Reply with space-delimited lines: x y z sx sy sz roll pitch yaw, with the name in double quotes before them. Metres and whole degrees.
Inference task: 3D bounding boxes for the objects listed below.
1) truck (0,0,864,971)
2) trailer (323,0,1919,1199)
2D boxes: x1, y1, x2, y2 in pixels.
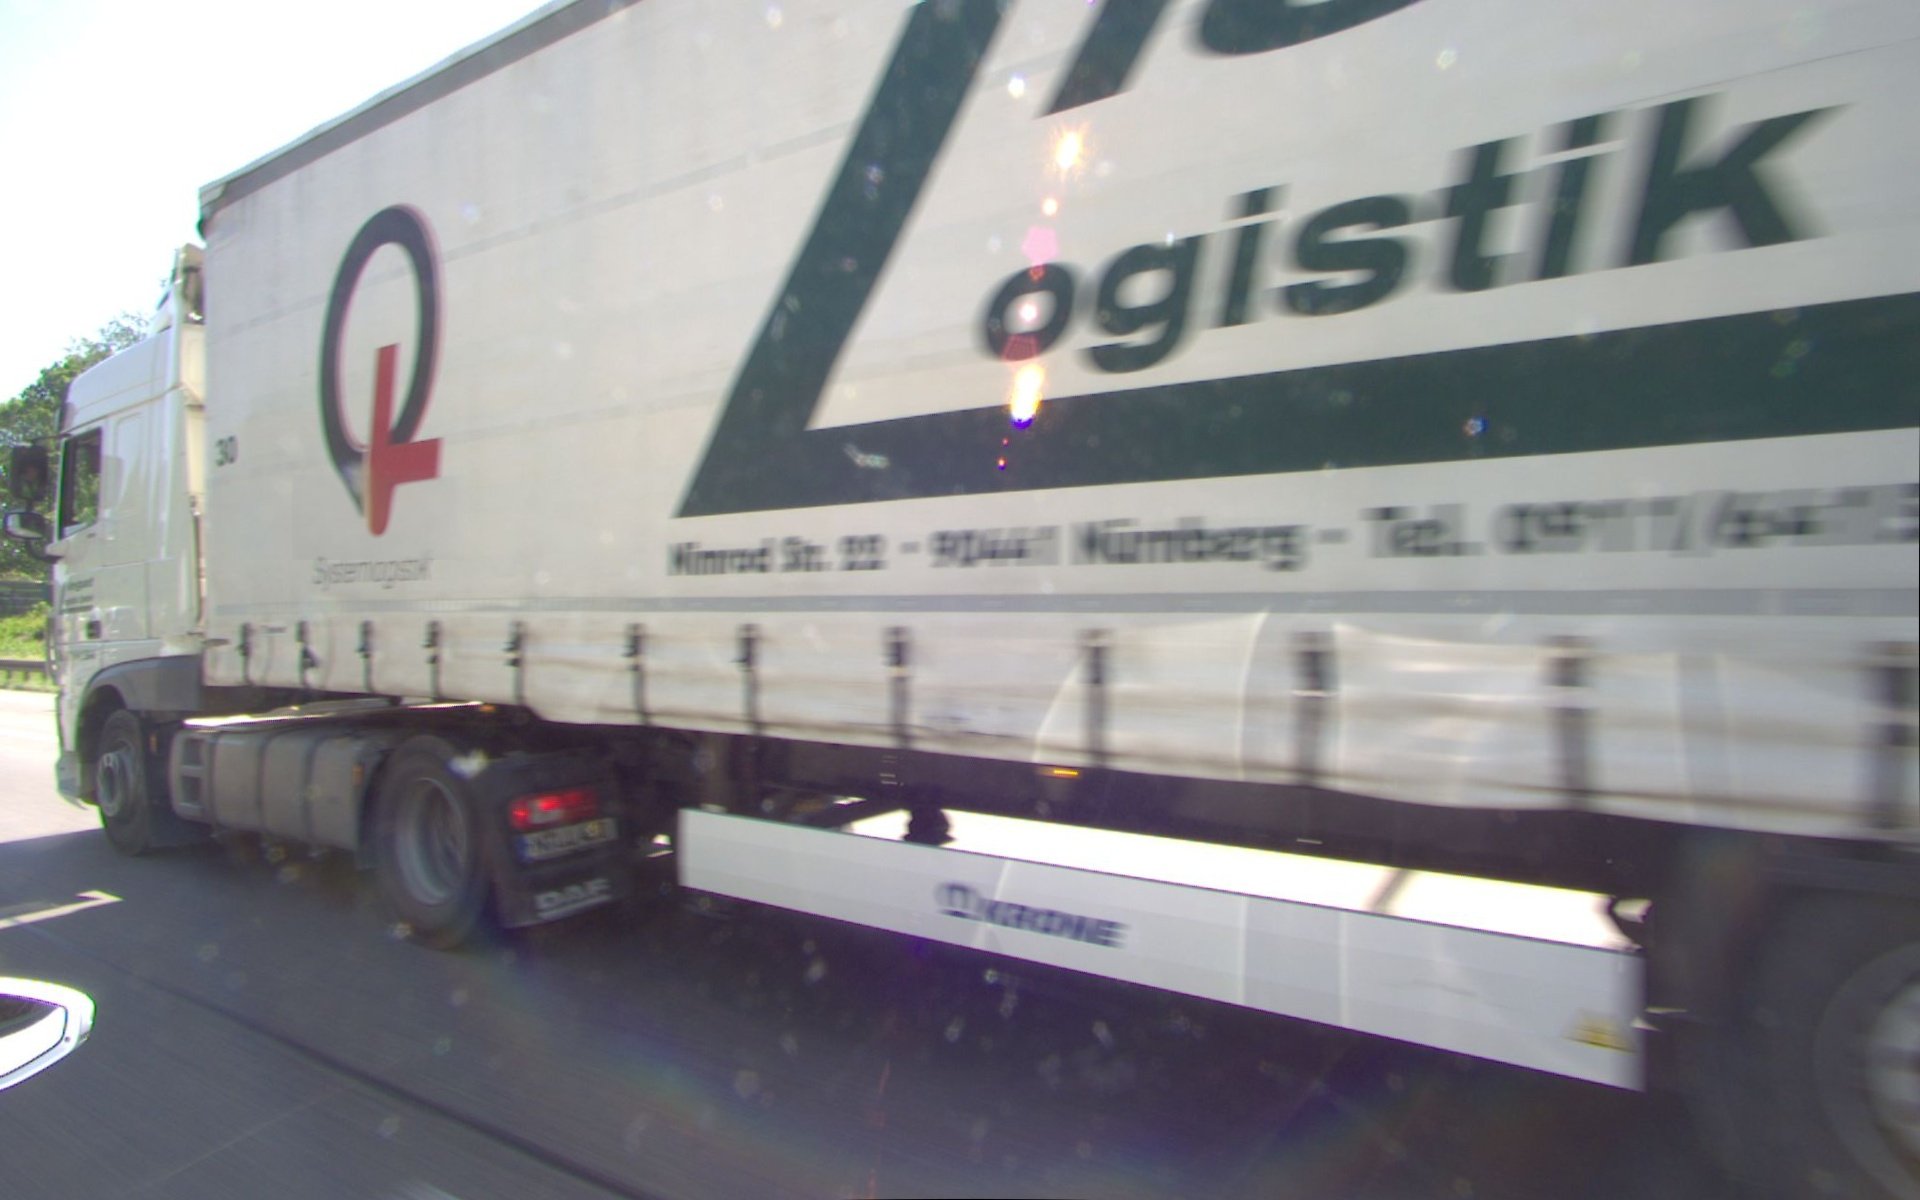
"truck" -3.840 -0.508 6.995 5.785 4.259 2.781 0 -1 32
"trailer" 3.174 -0.581 2.556 13.053 4.259 2.781 0 -2 33
